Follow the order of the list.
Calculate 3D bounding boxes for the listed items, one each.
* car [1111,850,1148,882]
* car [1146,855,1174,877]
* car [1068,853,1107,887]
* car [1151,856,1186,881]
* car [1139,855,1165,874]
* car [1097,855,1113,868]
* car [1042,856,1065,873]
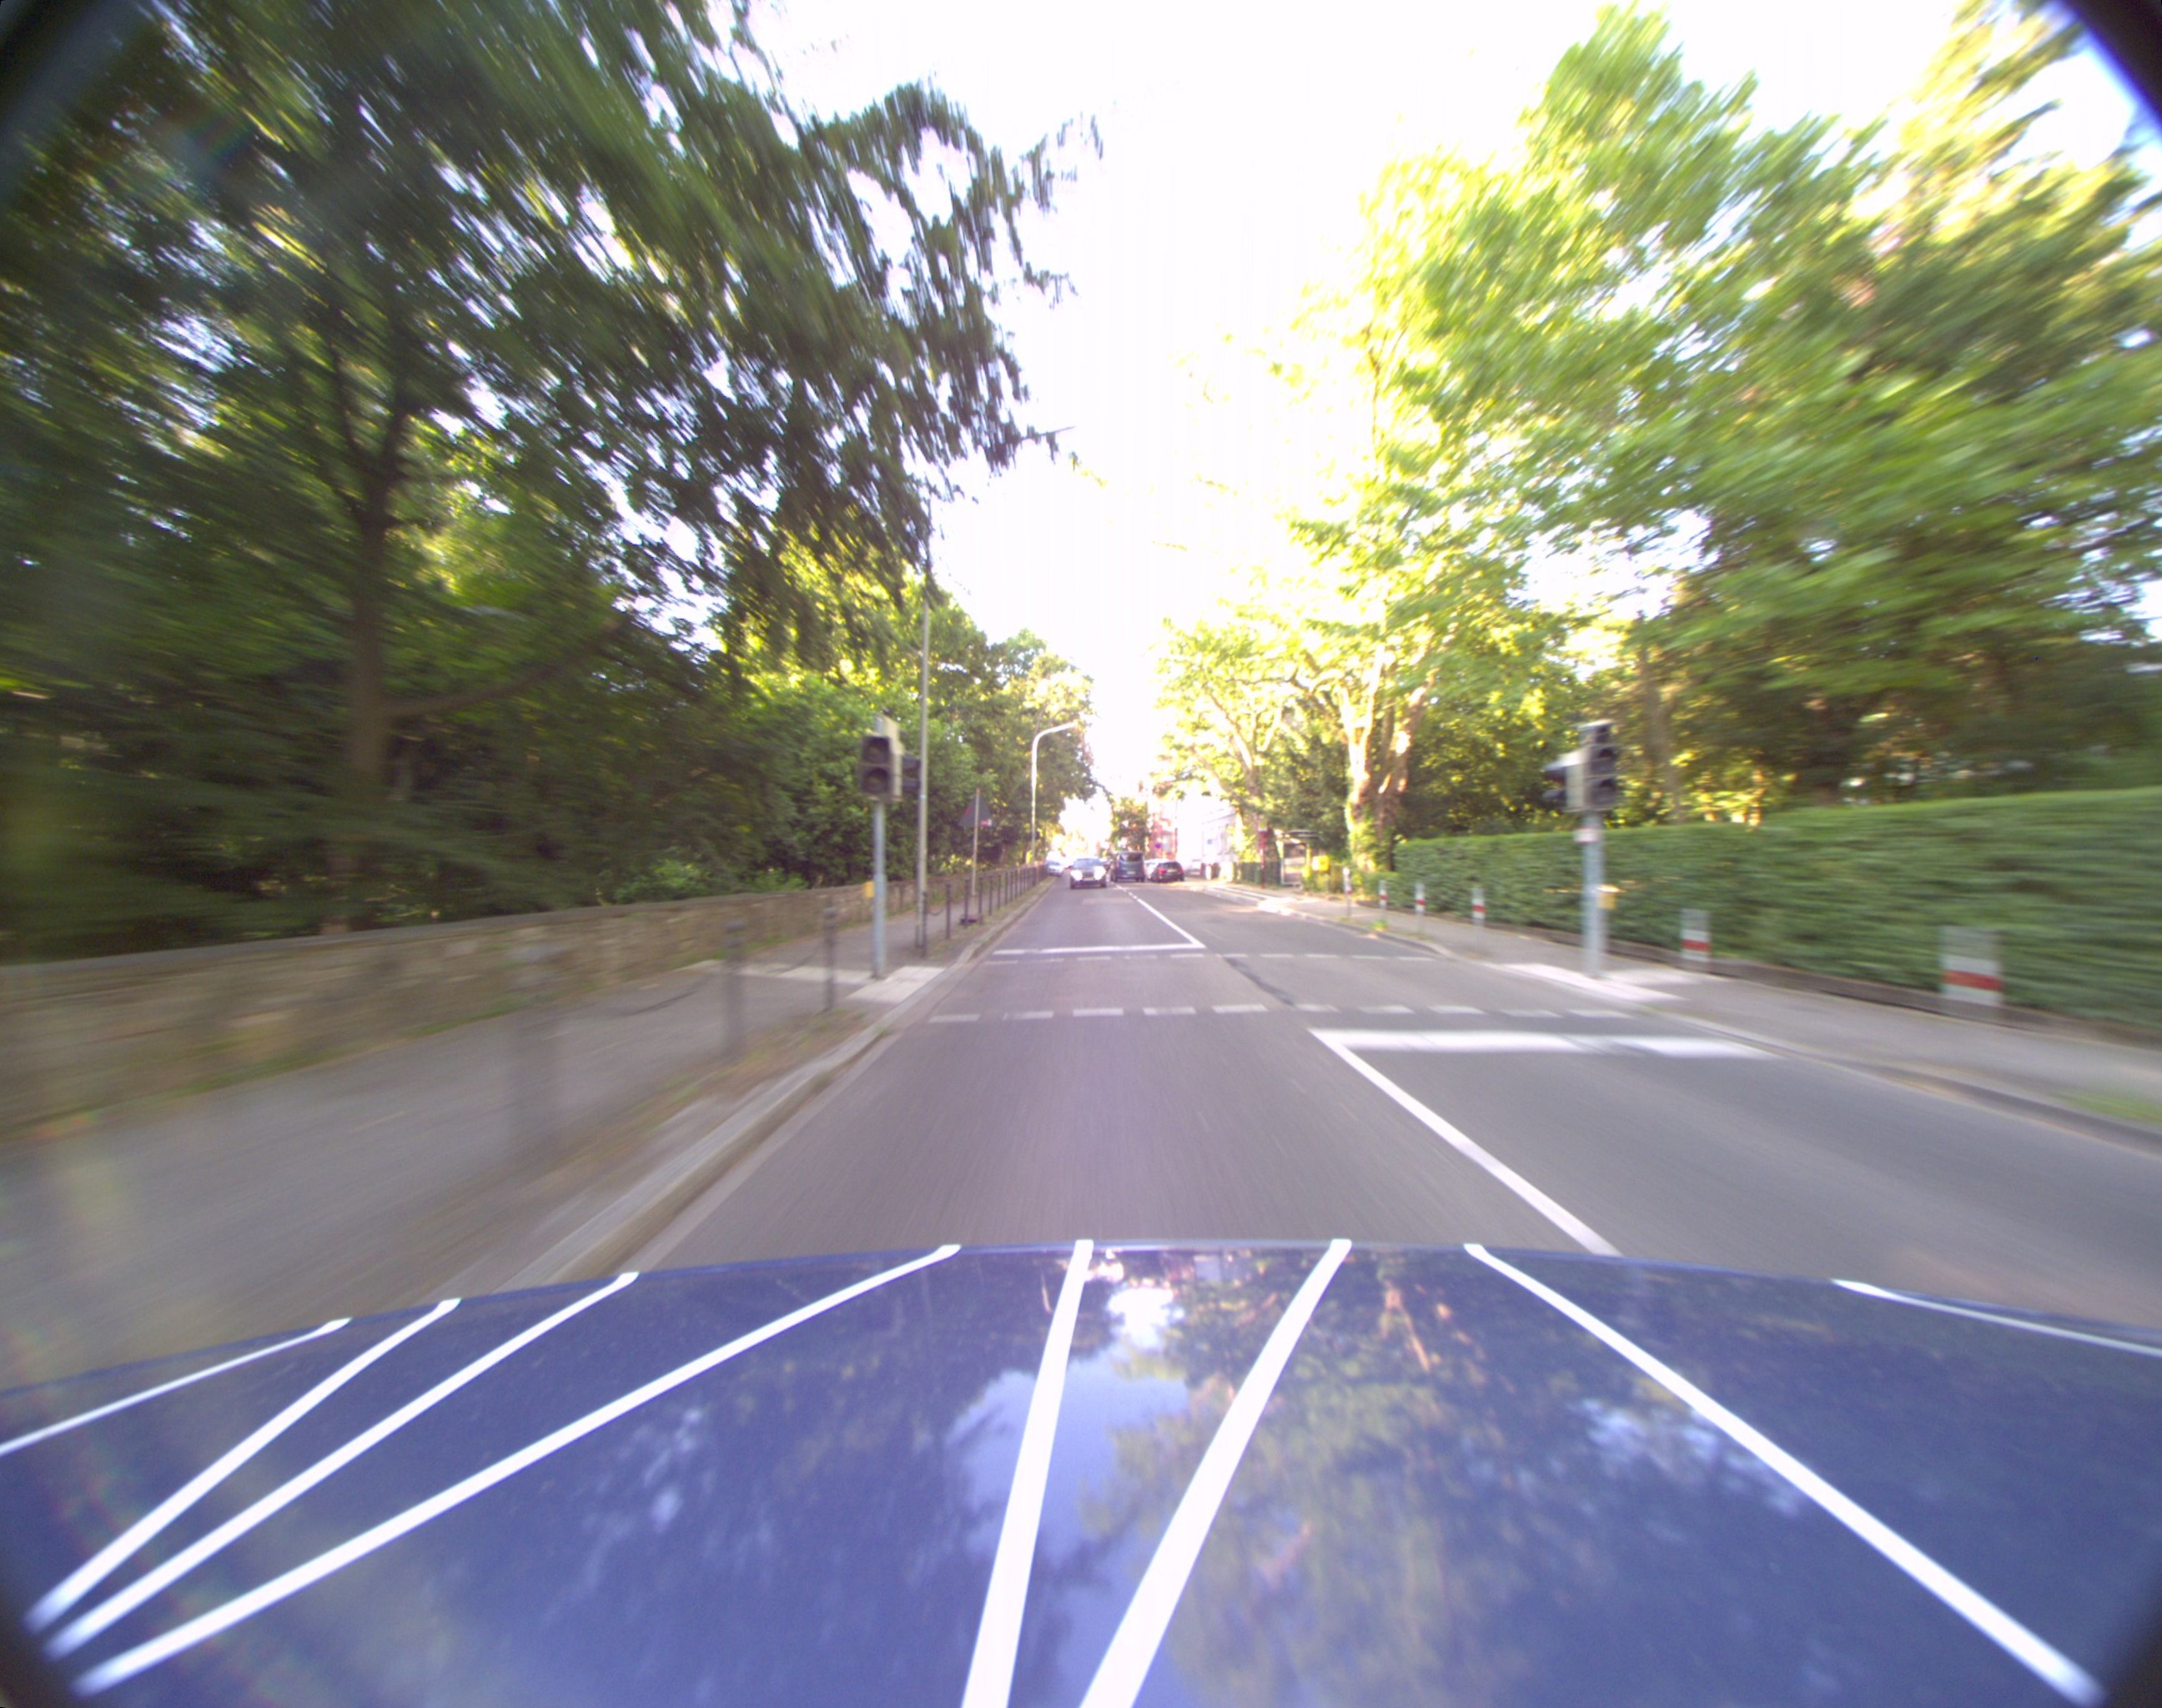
[{"bbox_3d":[3.142,0.733,50.088,1.999,1.957,4.776,1,0,-2],"label":"car"},{"bbox_3d":[5.631,0.853,54.464,1.628,1.537,3.322,-1,0,-1],"label":"car"},{"bbox_3d":[0.393,0.820,40.615,1.936,1.676,4.433,-1,0,2],"label":"car"},{"bbox_3d":[5.627,0.915,49.277,1.689,1.425,3.616,-4,0,-1],"label":"car"},{"bbox_3d":[5.480,0.824,58.761,1.628,1.425,3.559,0,0,-1],"label":"car"},{"bbox_3d":[2.787,0.825,87.542,1.628,1.425,3.559,1,0,-1],"label":"car"},{"bbox_3d":[-2.497,0.932,67.566,1.824,1.375,3.933,2,0,-4],"label":"car"}]
